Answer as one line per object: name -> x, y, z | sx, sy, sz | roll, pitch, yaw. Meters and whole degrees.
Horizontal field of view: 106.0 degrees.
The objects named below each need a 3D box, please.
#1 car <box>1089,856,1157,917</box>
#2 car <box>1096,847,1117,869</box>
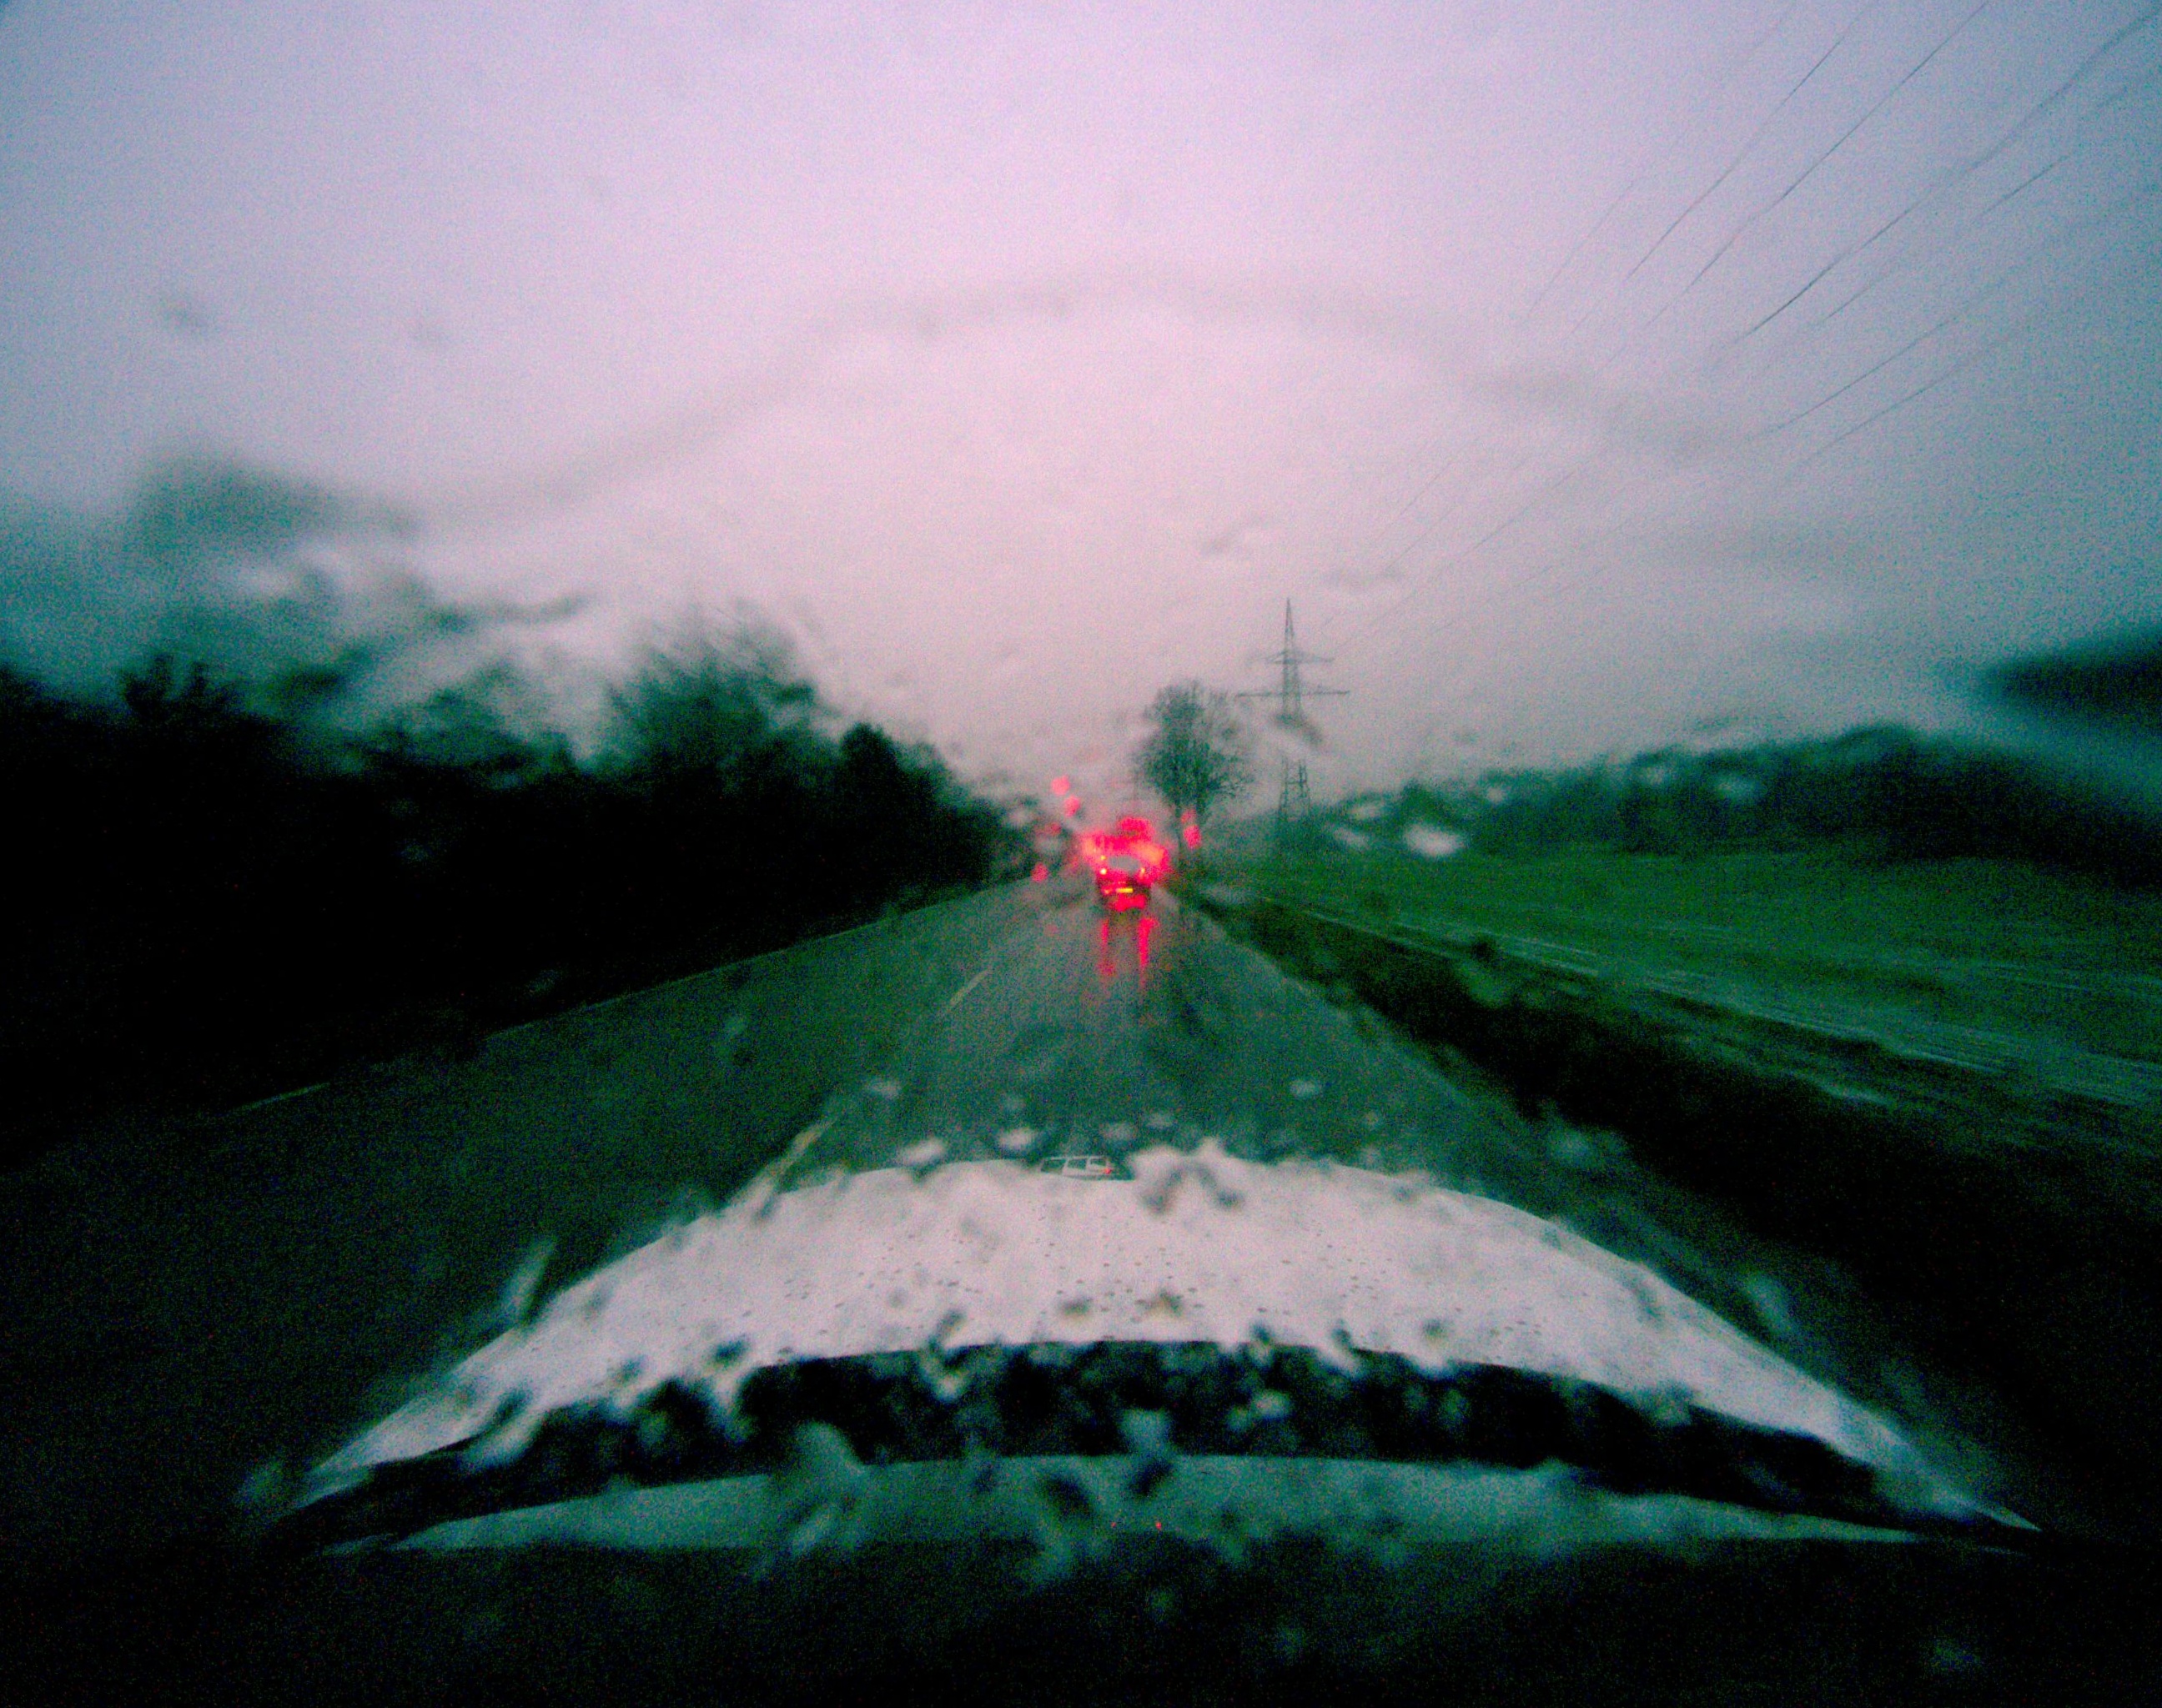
car -> 1.310, 0.987, 26.338 | 1.986, 1.752, 4.002 | -1, 0, 2
car -> 2.589, 0.346, 83.324 | 1.986, 2.013, 4.002 | 1, 3, 1
